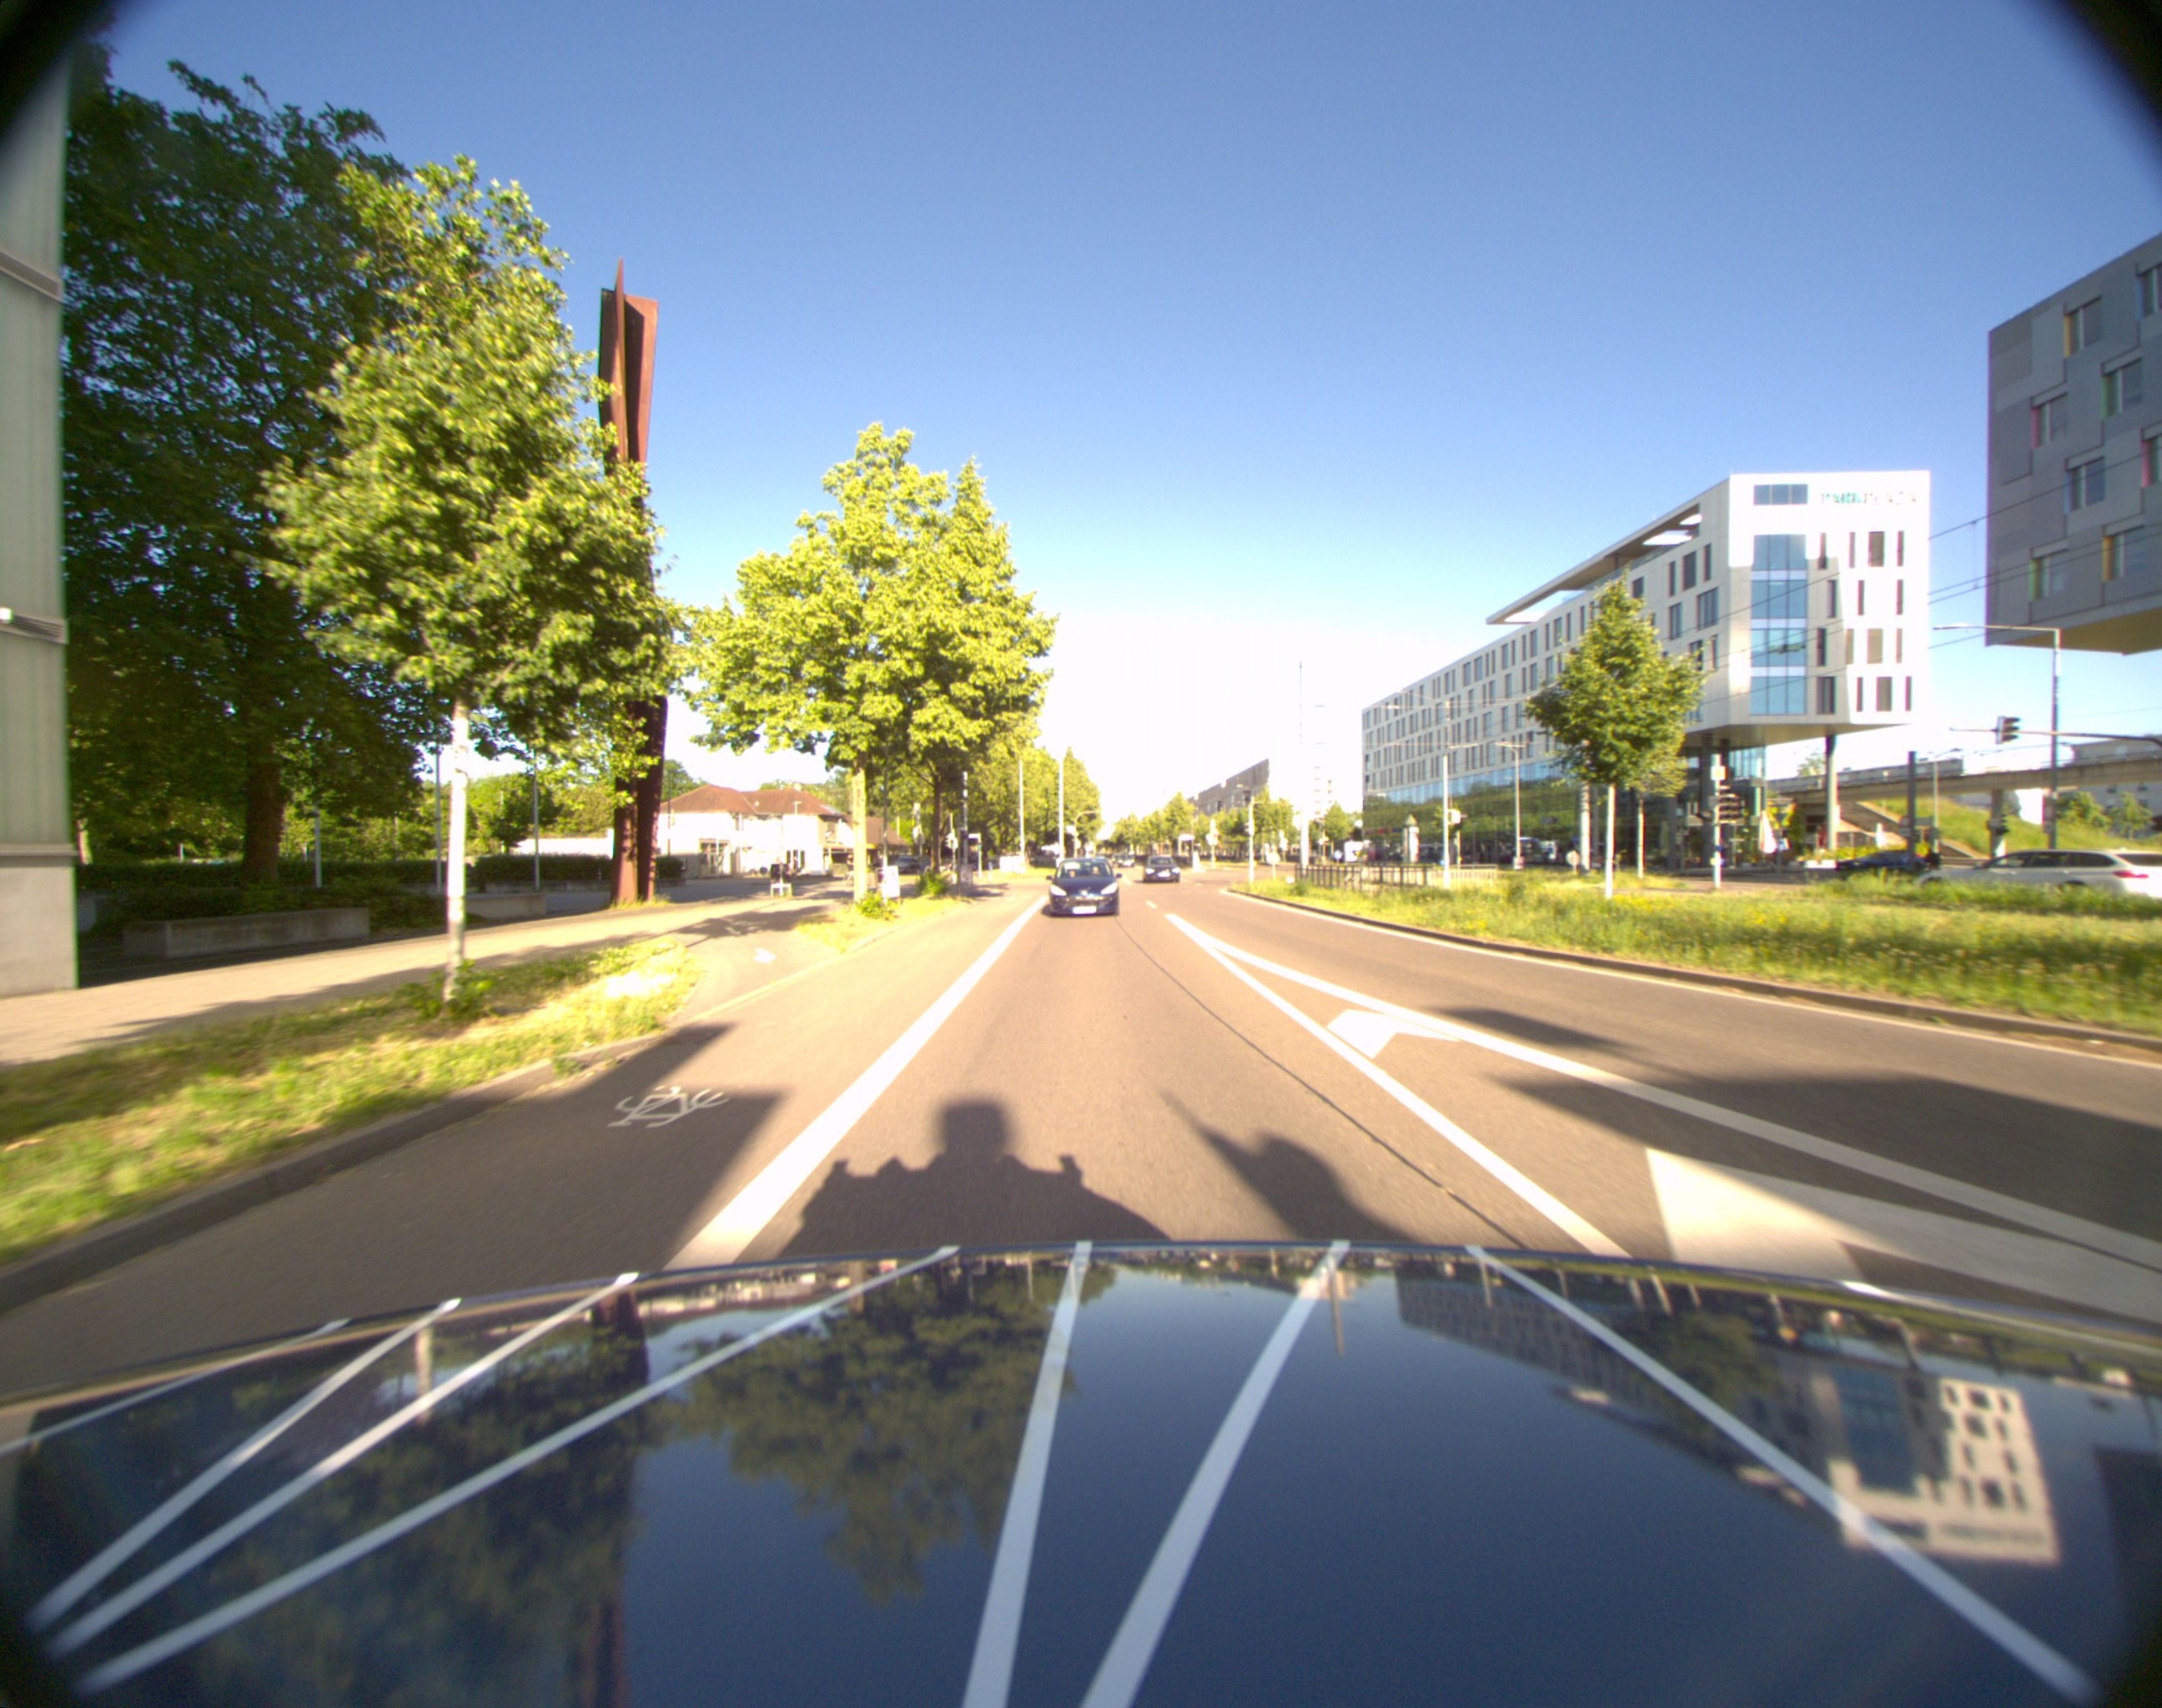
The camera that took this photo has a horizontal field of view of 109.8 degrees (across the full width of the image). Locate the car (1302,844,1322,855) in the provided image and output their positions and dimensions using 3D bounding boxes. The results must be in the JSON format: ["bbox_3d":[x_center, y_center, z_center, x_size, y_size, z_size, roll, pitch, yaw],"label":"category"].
[{"bbox_3d":[36.730,-0.708,120.915,1.803,1.518,4.343,-2,0,0],"label":"car"}]

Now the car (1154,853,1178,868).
[{"bbox_3d":[8.277,0.599,74.419,1.676,1.418,4.005,-2,0,-2],"label":"car"}]

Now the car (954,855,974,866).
[{"bbox_3d":[-18.180,1.000,117.908,1.998,1.520,4.656,-1,0,4],"label":"car"}]

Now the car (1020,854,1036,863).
[{"bbox_3d":[-8.660,0.723,124.499,1.998,1.355,4.867,-1,0,3],"label":"car"}]

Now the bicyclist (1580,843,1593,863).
[{"bbox_3d":[43.395,-0.116,65.217,0.531,1.716,0.837,-1,0,2],"label":"bicyclist"}]

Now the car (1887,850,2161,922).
[{"bbox_3d":[23.723,0.684,18.974,1.999,1.553,4.871,-1,0,-1],"label":"car"}]

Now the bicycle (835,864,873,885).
[{"bbox_3d":[-13.269,1.201,44.422,2.100,1.196,0.552,0,0,15],"label":"bicycle"}]

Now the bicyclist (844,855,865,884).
[{"bbox_3d":[-13.247,0.889,44.397,0.876,1.644,0.794,0,0,12],"label":"bicyclist"}]

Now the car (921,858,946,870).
[{"bbox_3d":[-19.102,1.255,98.555,1.898,1.477,4.915,-1,0,6],"label":"car"}]

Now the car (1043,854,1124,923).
[{"bbox_3d":[0.180,0.823,20.294,1.802,1.518,4.606,-2,0,4],"label":"car"}]

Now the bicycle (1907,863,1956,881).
[{"bbox_3d":[43.556,0.919,38.935,0.577,0.858,1.692,-1,0,0],"label":"bicycle"}]

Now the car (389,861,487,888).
[{"bbox_3d":[-38.620,1.213,45.711,1.995,1.457,4.008,-2,0,30],"label":"car"}]

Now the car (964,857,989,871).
[{"bbox_3d":[-11.931,1.109,87.160,1.898,1.479,4.348,-1,0,5],"label":"car"}]

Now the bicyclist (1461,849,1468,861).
[{"bbox_3d":[42.650,0.109,84.453,0.483,1.414,0.553,-1,0,-4],"label":"bicyclist"}]

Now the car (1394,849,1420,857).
[{"bbox_3d":[59.440,-0.155,138.599,3.998,1.347,1.876,-2,1,-3],"label":"car"}]

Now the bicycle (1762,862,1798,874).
[{"bbox_3d":[49.591,0.982,53.918,1.829,0.858,0.749,-1,0,3],"label":"bicycle"}]

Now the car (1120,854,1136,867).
[{"bbox_3d":[5.558,0.714,90.002,1.675,1.418,4.006,-2,0,2],"label":"car"}]

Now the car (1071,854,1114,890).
[{"bbox_3d":[0.623,0.829,36.711,1.802,1.518,4.606,-2,0,3],"label":"car"}]

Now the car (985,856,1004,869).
[{"bbox_3d":[-11.049,1.046,96.934,1.898,1.477,4.050,-1,0,1],"label":"car"}]

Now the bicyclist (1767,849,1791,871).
[{"bbox_3d":[49.520,0.412,53.917,0.955,1.574,0.751,-1,0,3],"label":"bicyclist"}]

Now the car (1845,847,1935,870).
[{"bbox_3d":[56.533,0.304,53.142,3.996,1.556,2.000,0,0,4],"label":"car"}]

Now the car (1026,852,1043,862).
[{"bbox_3d":[-7.946,0.550,129.860,1.997,1.587,4.657,-1,0,7],"label":"car"}]

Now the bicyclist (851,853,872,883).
[{"bbox_3d":[-13.071,0.837,45.312,0.876,1.727,0.833,0,0,12],"label":"bicyclist"}]

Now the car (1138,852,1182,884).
[{"bbox_3d":[4.144,0.719,40.408,1.803,1.518,4.343,-2,0,0],"label":"car"}]

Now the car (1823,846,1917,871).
[{"bbox_3d":[52.392,0.290,50.513,3.996,1.556,2.000,0,0,4],"label":"car"}]

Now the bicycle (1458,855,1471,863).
[{"bbox_3d":[42.643,0.577,84.533,0.483,0.858,1.691,-1,0,-3],"label":"bicycle"}]

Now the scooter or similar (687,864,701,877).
[{"bbox_3d":[-34.895,1.490,68.487,1.014,1.157,0.261,-1,1,-42],"label":"scooter or similar"}]

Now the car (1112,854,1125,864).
[{"bbox_3d":[5.689,0.765,116.174,1.839,1.483,4.005,-2,0,1],"label":"car"}]

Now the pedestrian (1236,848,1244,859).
[{"bbox_3d":[22.648,-0.087,108.105,1.068,1.458,0.844,-1,1,6],"label":"pedestrian"}]

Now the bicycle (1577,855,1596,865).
[{"bbox_3d":[43.403,0.498,65.246,0.529,0.858,1.834,-1,0,2],"label":"bicycle"}]

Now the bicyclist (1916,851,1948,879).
[{"bbox_3d":[43.548,0.541,38.886,0.572,1.427,0.958,-1,0,0],"label":"bicyclist"}]

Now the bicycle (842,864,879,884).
[{"bbox_3d":[-13.139,1.196,45.354,2.100,1.196,0.552,0,0,12],"label":"bicycle"}]

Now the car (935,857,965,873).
[{"bbox_3d":[-12.618,1.029,73.347,1.898,1.457,4.038,-1,0,4],"label":"car"}]

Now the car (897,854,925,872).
[{"bbox_3d":[-19.758,1.061,88.717,1.898,2.025,5.071,1,0,3],"label":"car"}]
